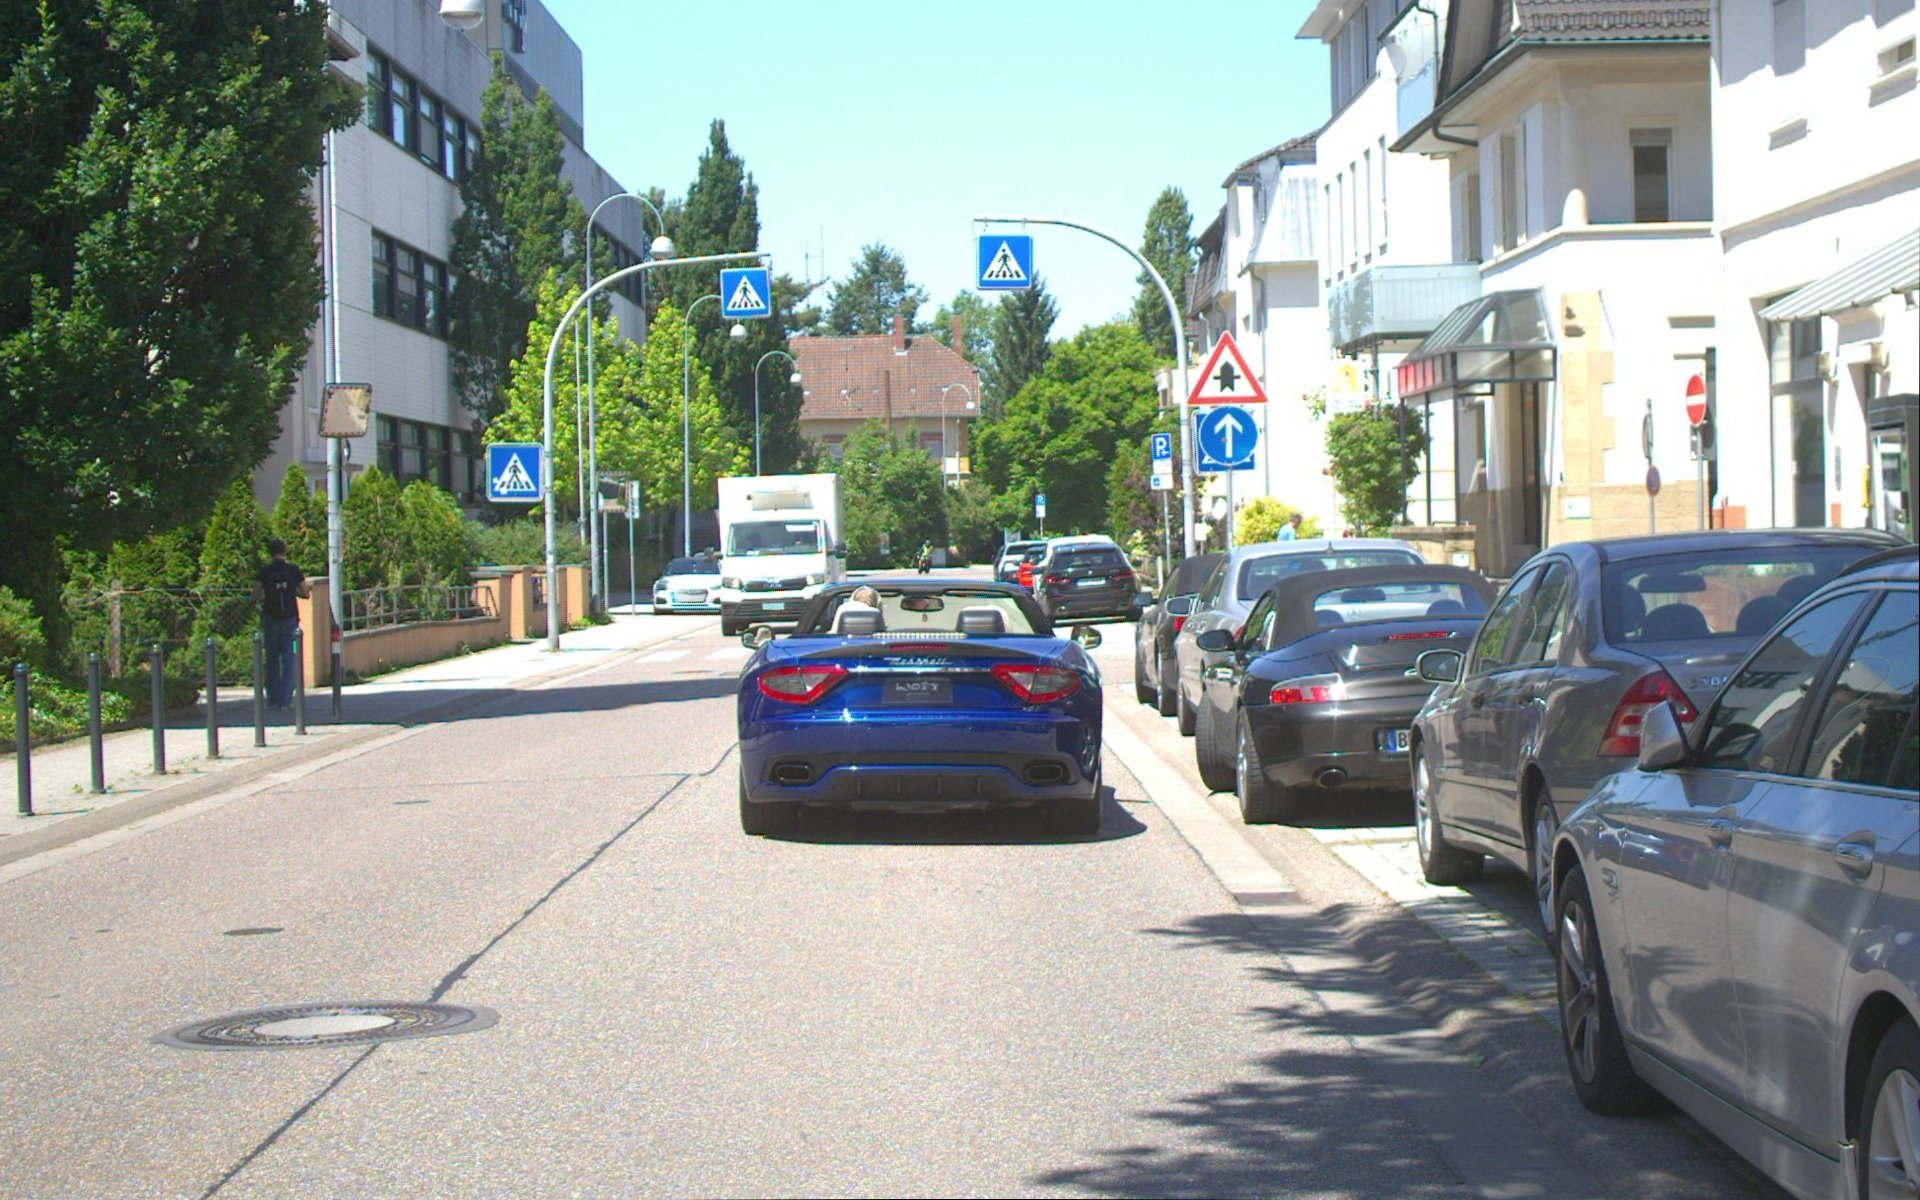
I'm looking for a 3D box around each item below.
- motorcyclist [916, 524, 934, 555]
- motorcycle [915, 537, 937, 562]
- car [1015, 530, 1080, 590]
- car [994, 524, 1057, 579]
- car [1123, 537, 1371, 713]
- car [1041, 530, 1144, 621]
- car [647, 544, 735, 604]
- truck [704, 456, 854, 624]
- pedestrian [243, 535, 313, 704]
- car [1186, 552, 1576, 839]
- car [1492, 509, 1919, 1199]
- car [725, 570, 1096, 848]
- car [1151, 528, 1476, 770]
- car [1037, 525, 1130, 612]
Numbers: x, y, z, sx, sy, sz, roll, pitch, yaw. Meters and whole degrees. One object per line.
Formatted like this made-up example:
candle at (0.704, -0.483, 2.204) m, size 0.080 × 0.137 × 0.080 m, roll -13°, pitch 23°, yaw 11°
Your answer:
motorcyclist at (-1.611, -2.790, 158.379) m, size 0.699 × 1.428 × 0.707 m, roll -3°, pitch 1°, yaw 8°
motorcycle at (-1.577, -2.337, 158.481) m, size 0.699 × 1.103 × 1.790 m, roll -3°, pitch 1°, yaw 8°
car at (2.321, -1.084, 91.855) m, size 1.603 × 1.436 × 3.853 m, roll -4°, pitch 1°, yaw 1°
car at (2.043, -1.558, 108.762) m, size 1.843 × 1.614 × 4.427 m, roll -3°, pitch 1°, yaw 0°
car at (2.568, 0.174, 31.772) m, size 1.827 × 1.422 × 4.700 m, roll -3°, pitch 1°, yaw 0°
car at (2.431, -0.490, 64.142) m, size 1.705 × 1.551 × 4.748 m, roll -2°, pitch 1°, yaw 0°
car at (-6.576, -0.659, 84.416) m, size 1.822 × 1.406 × 4.577 m, roll 0°, pitch 1°, yaw 0°
truck at (-3.365, -1.147, 65.184) m, size 2.420 × 2.973 × 6.258 m, roll -2°, pitch 1°, yaw 0°
pedestrian at (-6.877, 0.185, 34.680) m, size 0.536 × 1.679 × 0.708 m, roll -1°, pitch 1°, yaw 0°
car at (2.219, 0.443, 19.089) m, size 1.557 × 1.336 × 4.174 m, roll -2°, pitch 1°, yaw -1°
car at (2.437, 0.553, 7.123) m, size 1.829 × 1.506 × 4.760 m, roll -2°, pitch 1°, yaw -1°
car at (-0.249, 0.517, 19.271) m, size 1.826 × 1.332 × 4.700 m, roll 0°, pitch 1°, yaw 0°
car at (2.428, 0.278, 24.731) m, size 1.744 × 1.463 × 4.852 m, roll -4°, pitch 1°, yaw 0°
car at (2.480, -0.666, 70.040) m, size 1.705 × 1.660 × 4.580 m, roll -1°, pitch 1°, yaw 0°
